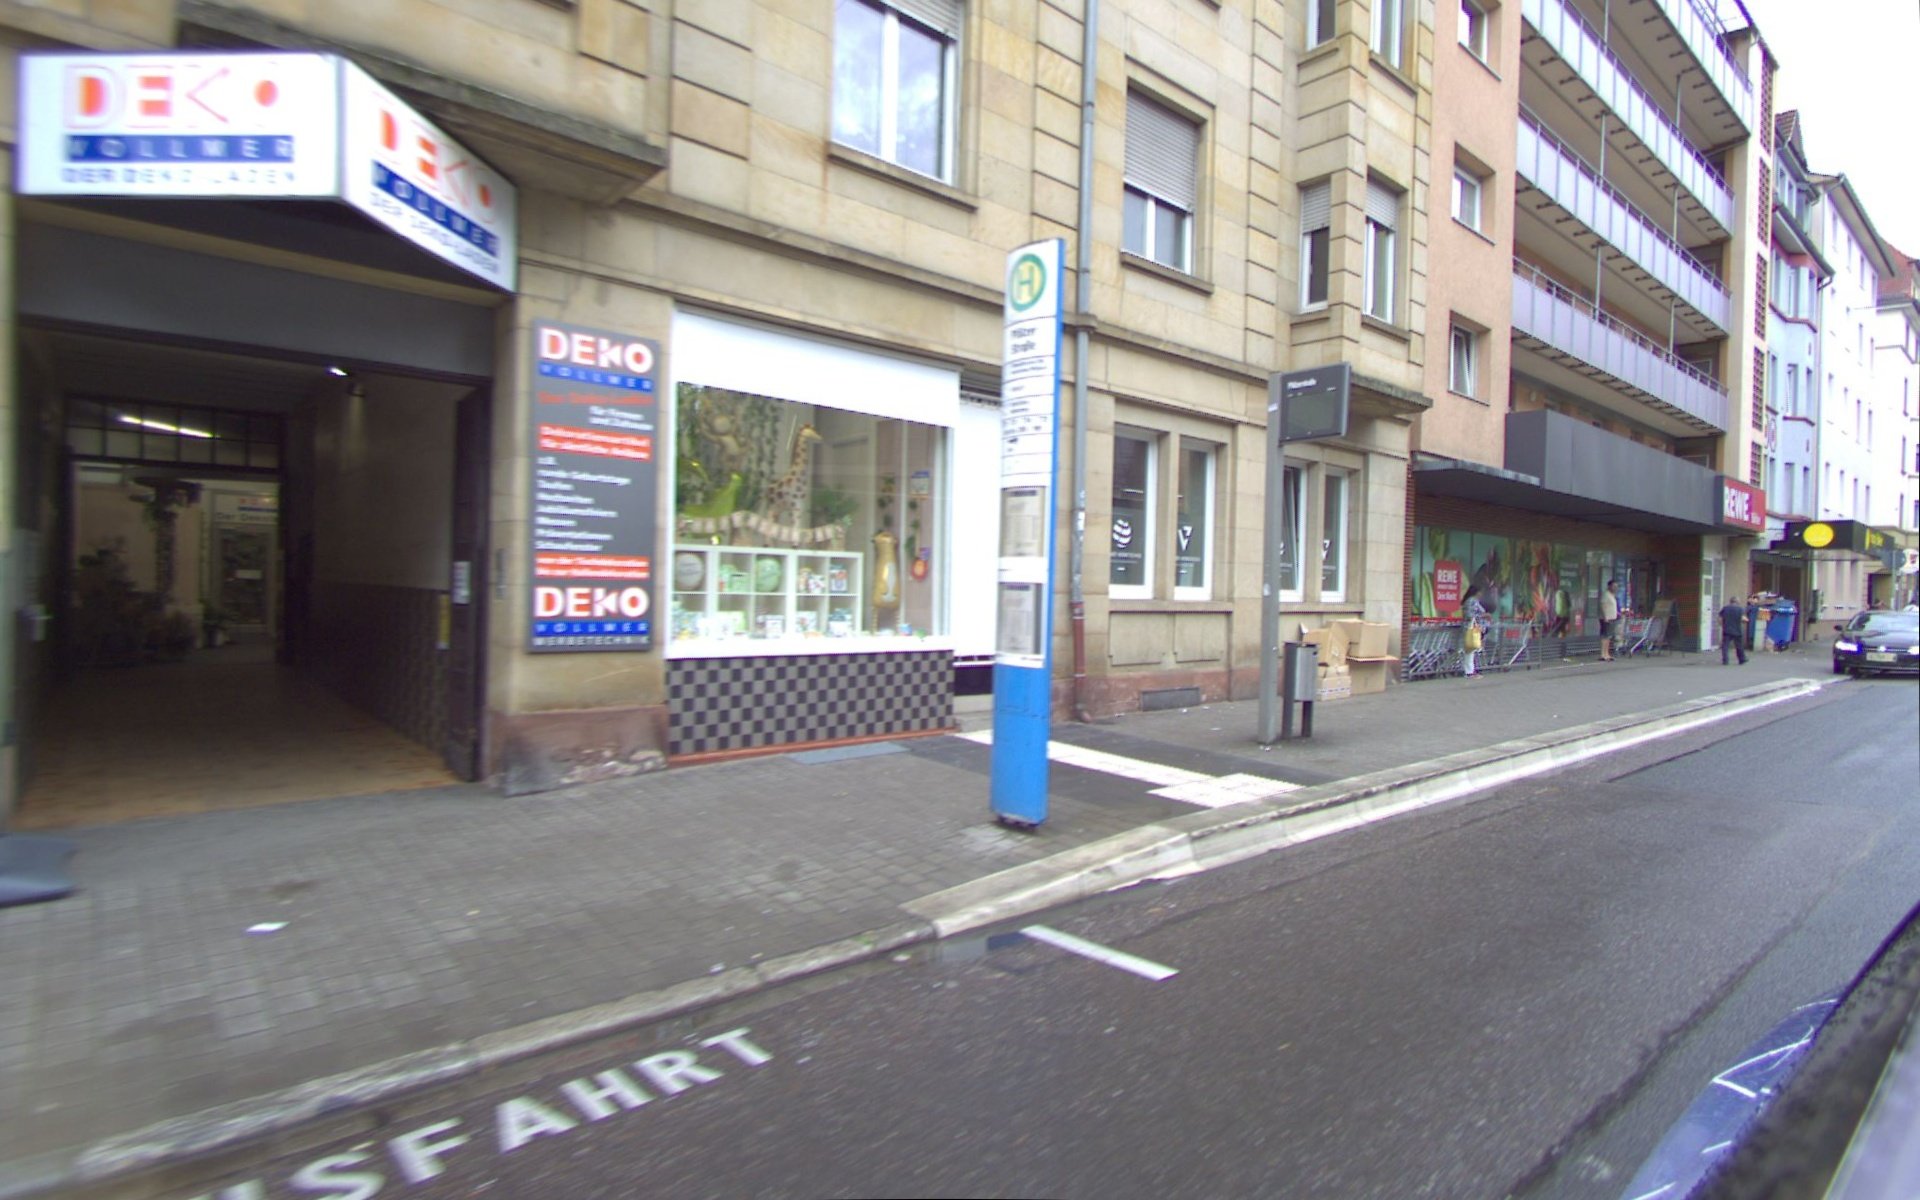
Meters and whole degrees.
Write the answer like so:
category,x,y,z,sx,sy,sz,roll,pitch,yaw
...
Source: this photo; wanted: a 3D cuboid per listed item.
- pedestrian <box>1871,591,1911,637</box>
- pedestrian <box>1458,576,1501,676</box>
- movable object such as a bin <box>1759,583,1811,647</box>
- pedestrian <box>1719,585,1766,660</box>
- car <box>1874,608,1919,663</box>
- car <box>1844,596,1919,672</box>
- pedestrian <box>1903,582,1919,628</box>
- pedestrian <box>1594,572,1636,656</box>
category,x,y,z,sx,sy,sz,roll,pitch,yaw
pedestrian,35.291,0.533,38.379,0.767,1.667,0.705,2,2,-7
pedestrian,8.481,0.407,16.526,0.559,1.592,0.620,1,0,32
movable object such as a bin,24.324,0.427,29.847,1.274,1.815,1.000,-1,2,-43
pedestrian,18.277,0.515,23.648,0.735,1.671,0.627,1,3,-41
car,25.451,0.896,26.497,3.700,1.327,1.738,0,-1,-40
car,21.351,0.722,22.753,3.912,1.567,1.733,0,0,-41
pedestrian,35.599,0.202,37.380,0.767,1.667,0.705,2,2,-7
pedestrian,14.959,0.303,23.102,0.714,1.882,0.597,-1,1,-38
